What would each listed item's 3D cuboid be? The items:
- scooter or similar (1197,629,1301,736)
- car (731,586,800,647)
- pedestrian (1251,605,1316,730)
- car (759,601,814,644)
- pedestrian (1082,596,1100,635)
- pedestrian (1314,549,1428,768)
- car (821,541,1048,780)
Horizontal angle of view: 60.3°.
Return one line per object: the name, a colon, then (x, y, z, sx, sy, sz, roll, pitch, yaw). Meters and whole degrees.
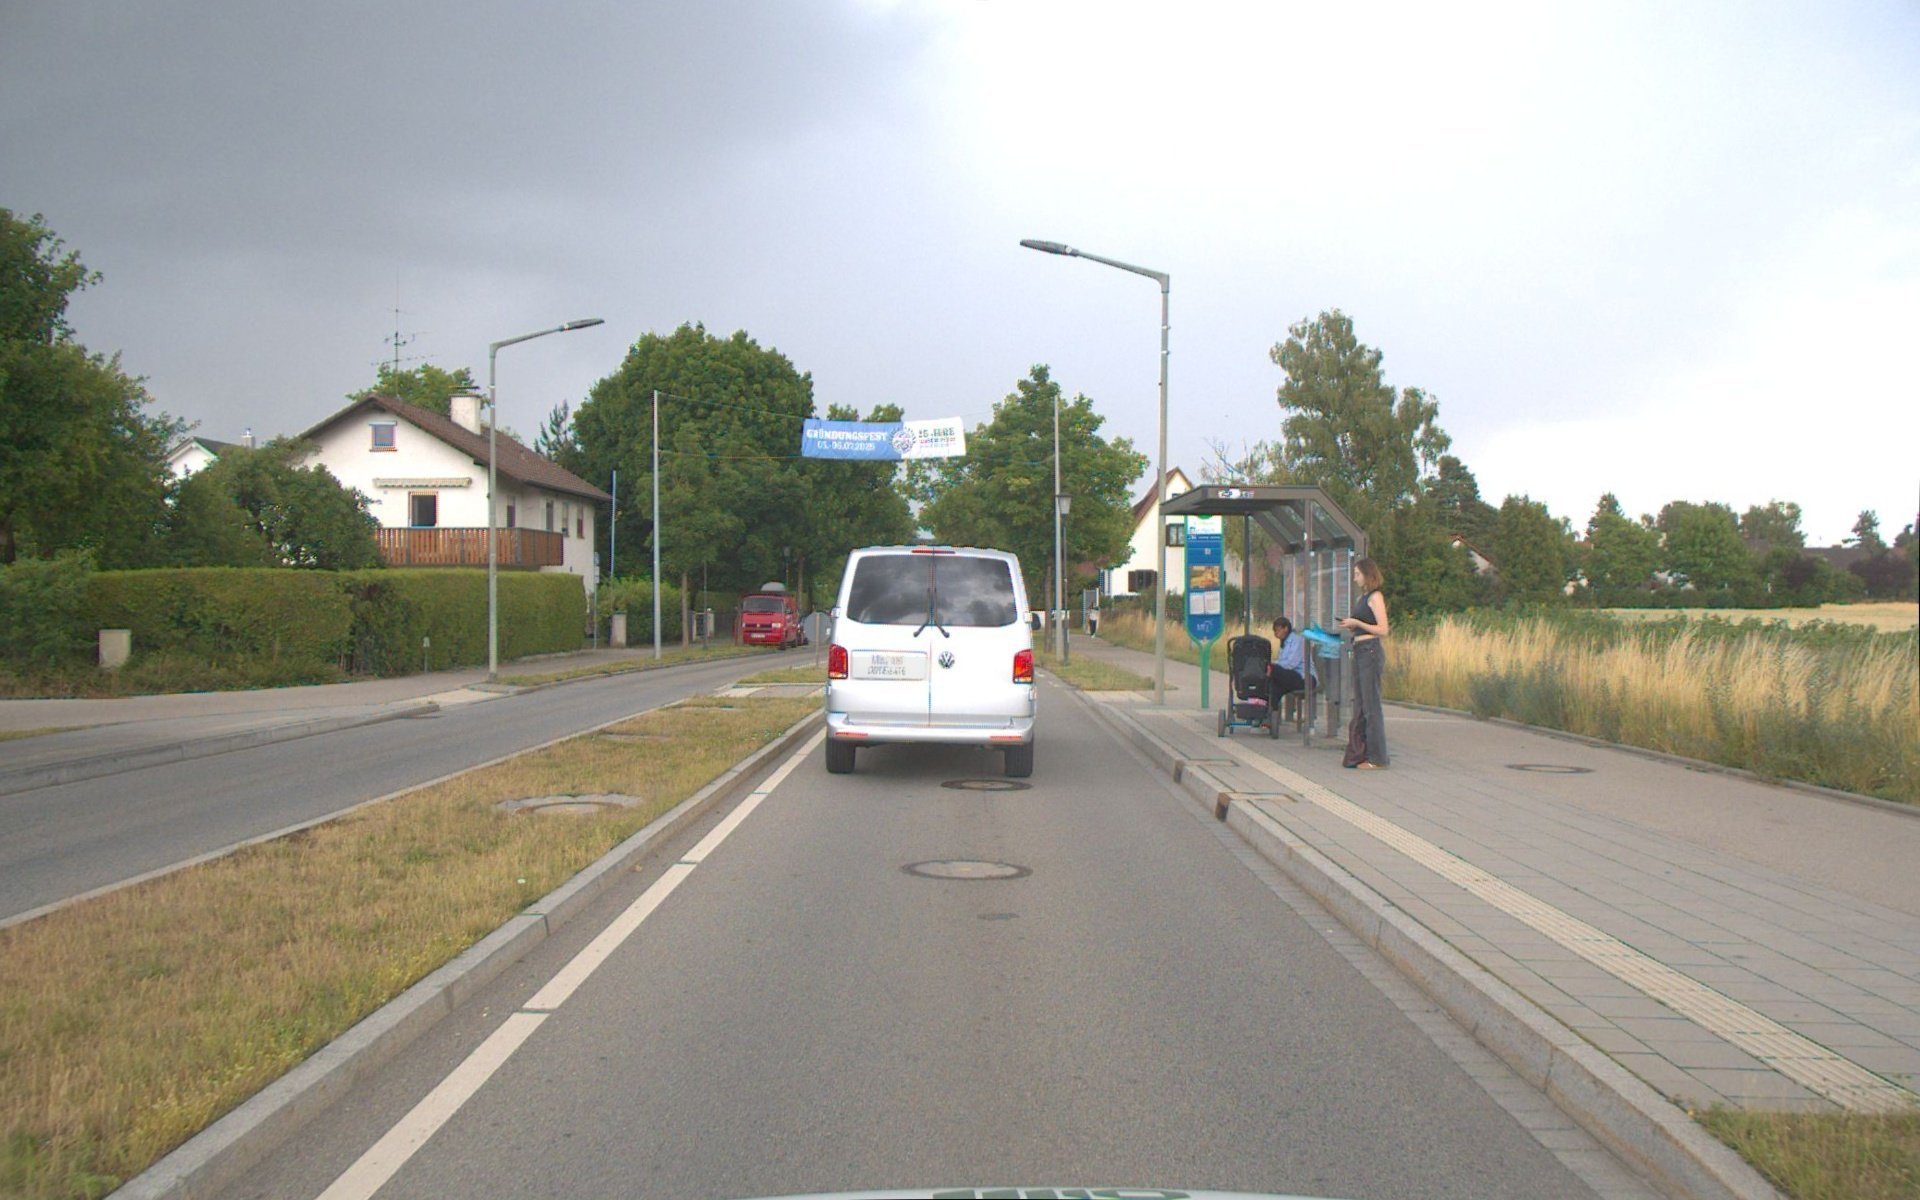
scooter or similar: (3.084, 0.864, 17.610, 0.695, 1.080, 1.056, 1, -1, 36)
car: (-6.962, 0.567, 59.636, 1.792, 2.066, 5.046, 1, 0, 0)
pedestrian: (3.537, 0.732, 18.128, 0.650, 1.325, 0.505, 1, -1, 9)
car: (-6.872, 0.858, 65.707, 1.735, 1.626, 4.237, 1, 0, 0)
pedestrian: (6.000, 0.709, 75.640, 0.820, 1.785, 0.870, 0, -1, 4)
pedestrian: (3.547, 0.495, 14.331, 0.765, 1.824, 0.779, 2, -1, 2)
car: (-0.240, 0.513, 15.569, 1.849, 1.945, 3.999, 0, -1, -1)
